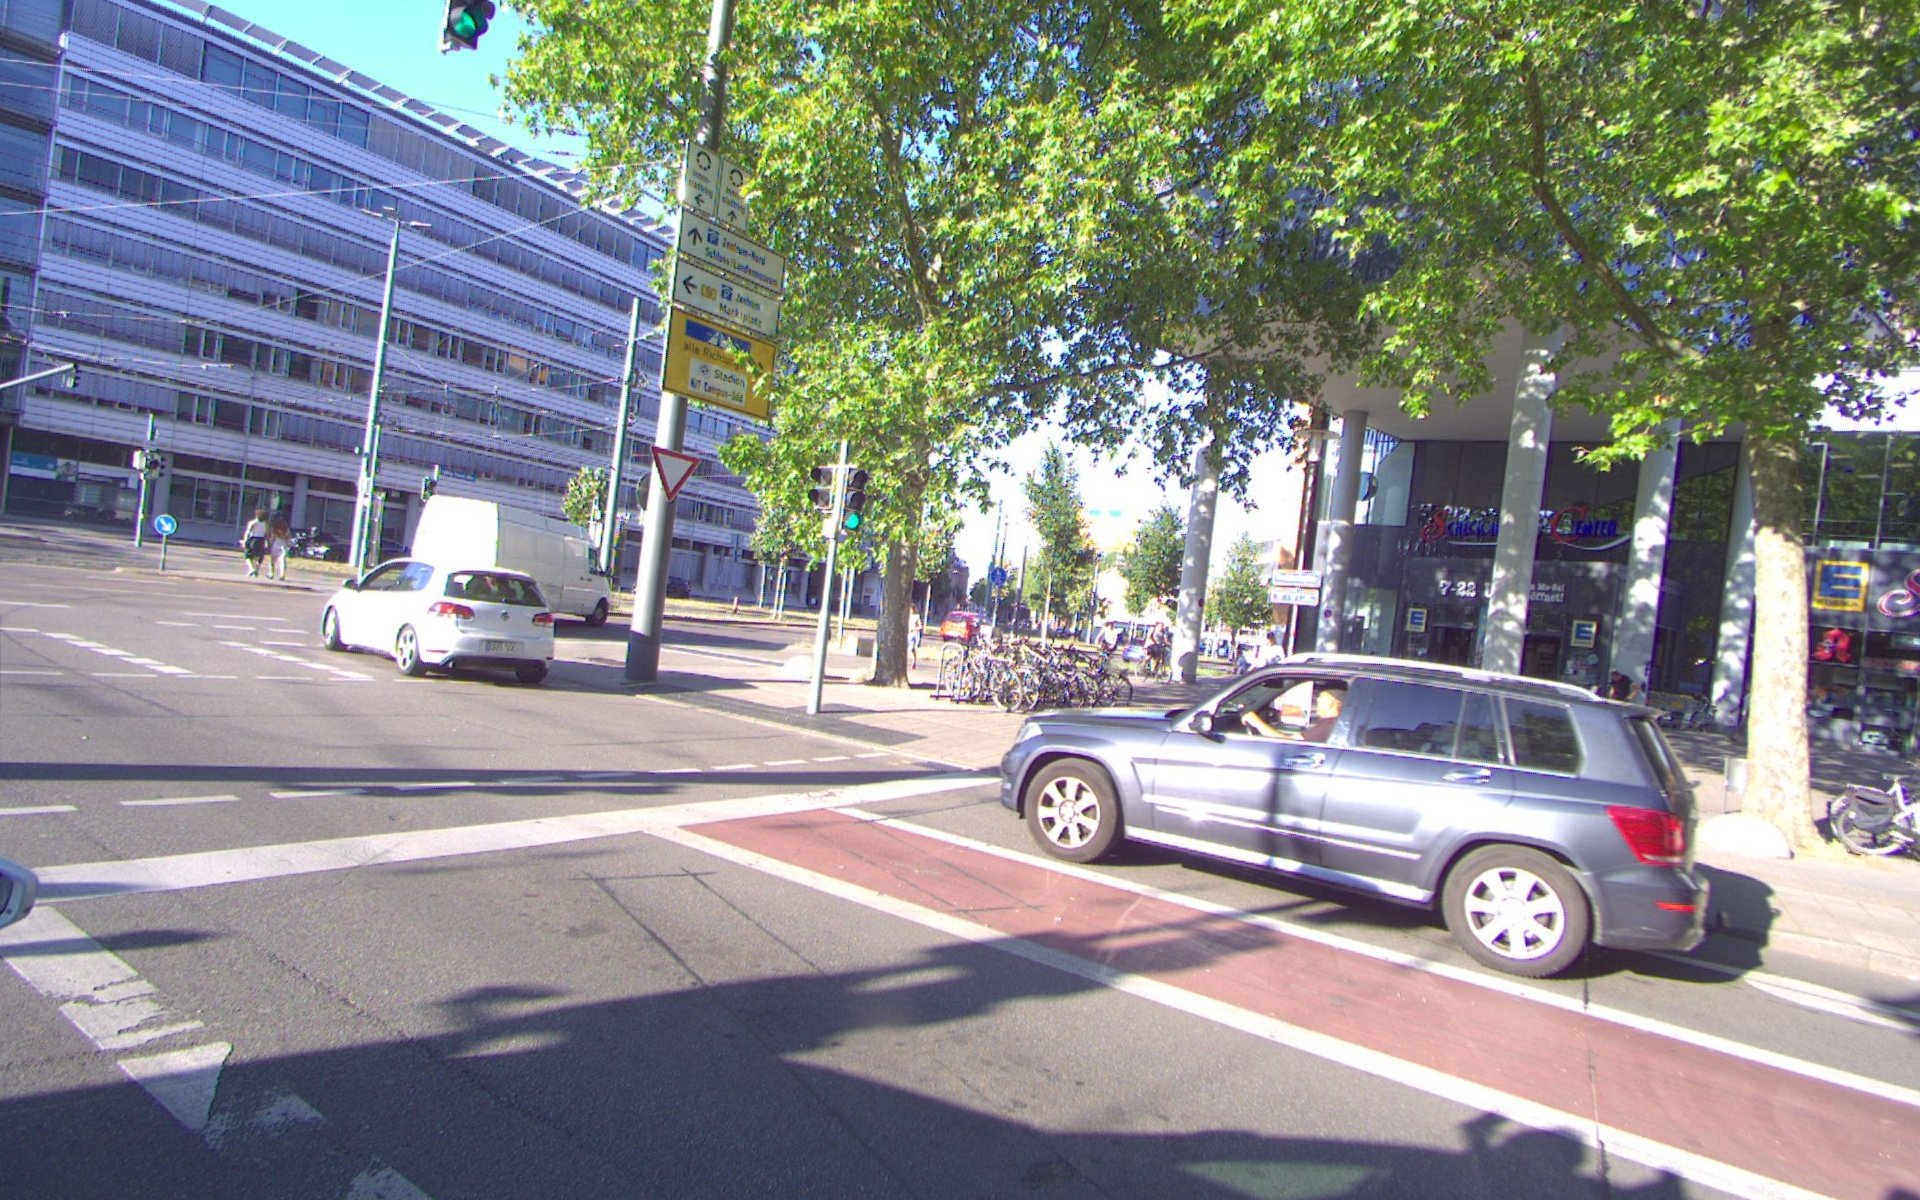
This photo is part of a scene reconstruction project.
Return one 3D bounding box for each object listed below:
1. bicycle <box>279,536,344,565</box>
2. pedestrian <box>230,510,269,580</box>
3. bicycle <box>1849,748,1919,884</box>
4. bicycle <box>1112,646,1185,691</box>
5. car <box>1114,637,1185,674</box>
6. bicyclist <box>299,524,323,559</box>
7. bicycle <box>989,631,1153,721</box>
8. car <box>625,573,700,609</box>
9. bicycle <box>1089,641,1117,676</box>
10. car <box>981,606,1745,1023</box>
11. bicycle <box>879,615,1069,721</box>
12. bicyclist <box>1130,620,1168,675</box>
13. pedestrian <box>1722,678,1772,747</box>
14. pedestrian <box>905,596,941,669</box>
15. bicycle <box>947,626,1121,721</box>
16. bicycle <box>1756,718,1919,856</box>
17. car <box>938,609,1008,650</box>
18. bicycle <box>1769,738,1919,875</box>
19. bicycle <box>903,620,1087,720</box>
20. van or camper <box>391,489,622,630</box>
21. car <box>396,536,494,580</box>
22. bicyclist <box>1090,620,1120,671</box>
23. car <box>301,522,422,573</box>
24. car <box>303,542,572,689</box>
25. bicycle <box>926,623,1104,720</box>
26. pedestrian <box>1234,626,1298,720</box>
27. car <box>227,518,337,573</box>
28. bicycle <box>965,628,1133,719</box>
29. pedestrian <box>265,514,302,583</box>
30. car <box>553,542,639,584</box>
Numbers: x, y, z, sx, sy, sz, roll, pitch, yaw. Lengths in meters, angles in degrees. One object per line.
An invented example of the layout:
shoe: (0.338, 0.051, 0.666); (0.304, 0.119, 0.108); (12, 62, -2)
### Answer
bicycle: (-30.005, -2.267, 46.594); (0.627, 1.035, 2.410); (7, 0, 36)
pedestrian: (-19.136, -1.491, 27.102); (0.672, 1.781, 0.735); (6, 1, -32)
bicycle: (10.151, 2.206, 9.478); (2.514, 1.234, 0.756); (5, -2, 38)
bicycle: (5.438, 1.973, 29.141); (0.596, 1.028, 2.173); (4, 2, -36)
car: (9.819, 2.897, 52.043); (1.728, 1.476, 4.198); (7, -2, 39)
bicyclist: (-30.007, -2.702, 46.508); (0.604, 1.521, 0.663); (7, 1, 37)
bicycle: (2.048, 1.400, 18.826); (2.896, 1.250, 0.698); (6, -4, 31)
car: (-18.349, -0.564, 62.191); (1.852, 1.614, 4.121); (6, -2, 35)
bicycle: (4.759, 1.936, 33.501); (0.734, 0.964, 2.100); (6, 1, 6)
car: (2.469, 1.157, 6.854); (4.178, 1.655, 1.768); (7, -1, 31)
bicycle: (0.180, 1.038, 15.718); (2.896, 1.252, 0.705); (6, -1, 31)
bicyclist: (5.469, 1.362, 29.147); (0.587, 1.504, 0.743); (4, 2, -37)
pedestrian: (21.495, 3.059, 27.504); (0.824, 1.765, 0.644); (7, 1, 32)
pedestrian: (-0.874, 0.775, 23.725); (0.523, 1.644, 0.543); (7, 1, 19)
bicycle: (1.255, 1.267, 17.607); (2.896, 1.251, 0.705); (6, -3, 31)
bicycle: (11.190, 2.302, 10.975); (3.757, 1.235, 0.727); (10, 1, 38)
car: (0.634, 1.389, 46.131); (1.470, 1.476, 3.592); (7, -2, 31)
bicycle: (10.761, 2.339, 10.289); (3.759, 1.232, 0.758); (5, -6, 38)
bicycle: (0.528, 1.113, 16.341); (2.896, 1.243, 0.686); (6, -1, 31)
van or camper: (-10.309, -0.769, 23.691); (1.969, 2.646, 6.500); (7, 0, 3)
car: (-26.466, -2.139, 51.793); (1.769, 1.569, 3.990); (6, -2, 36)
bicyclist: (4.822, 1.504, 33.470); (0.793, 1.587, 1.030); (7, 1, 6)
car: (-27.232, -2.362, 45.868); (1.854, 1.744, 4.256); (7, 0, 34)
car: (-7.084, 0.170, 13.480); (3.927, 1.445, 1.635); (7, -1, 39)
bicycle: (0.884, 1.186, 16.971); (2.896, 1.252, 0.705); (6, -1, 32)
pedestrian: (6.635, 1.564, 21.854); (0.800, 1.913, 0.871); (5, 1, -16)
car: (-34.084, -2.720, 50.660); (1.967, 2.037, 3.995); (6, -2, 32)
bicycle: (1.576, 1.313, 18.259); (2.896, 1.252, 0.705); (6, -1, 31)
pedestrian: (-18.506, -1.404, 27.517); (0.679, 1.781, 0.735); (6, 1, -35)
car: (-19.864, -2.006, 55.042); (1.852, 1.614, 3.991); (6, -2, 35)
